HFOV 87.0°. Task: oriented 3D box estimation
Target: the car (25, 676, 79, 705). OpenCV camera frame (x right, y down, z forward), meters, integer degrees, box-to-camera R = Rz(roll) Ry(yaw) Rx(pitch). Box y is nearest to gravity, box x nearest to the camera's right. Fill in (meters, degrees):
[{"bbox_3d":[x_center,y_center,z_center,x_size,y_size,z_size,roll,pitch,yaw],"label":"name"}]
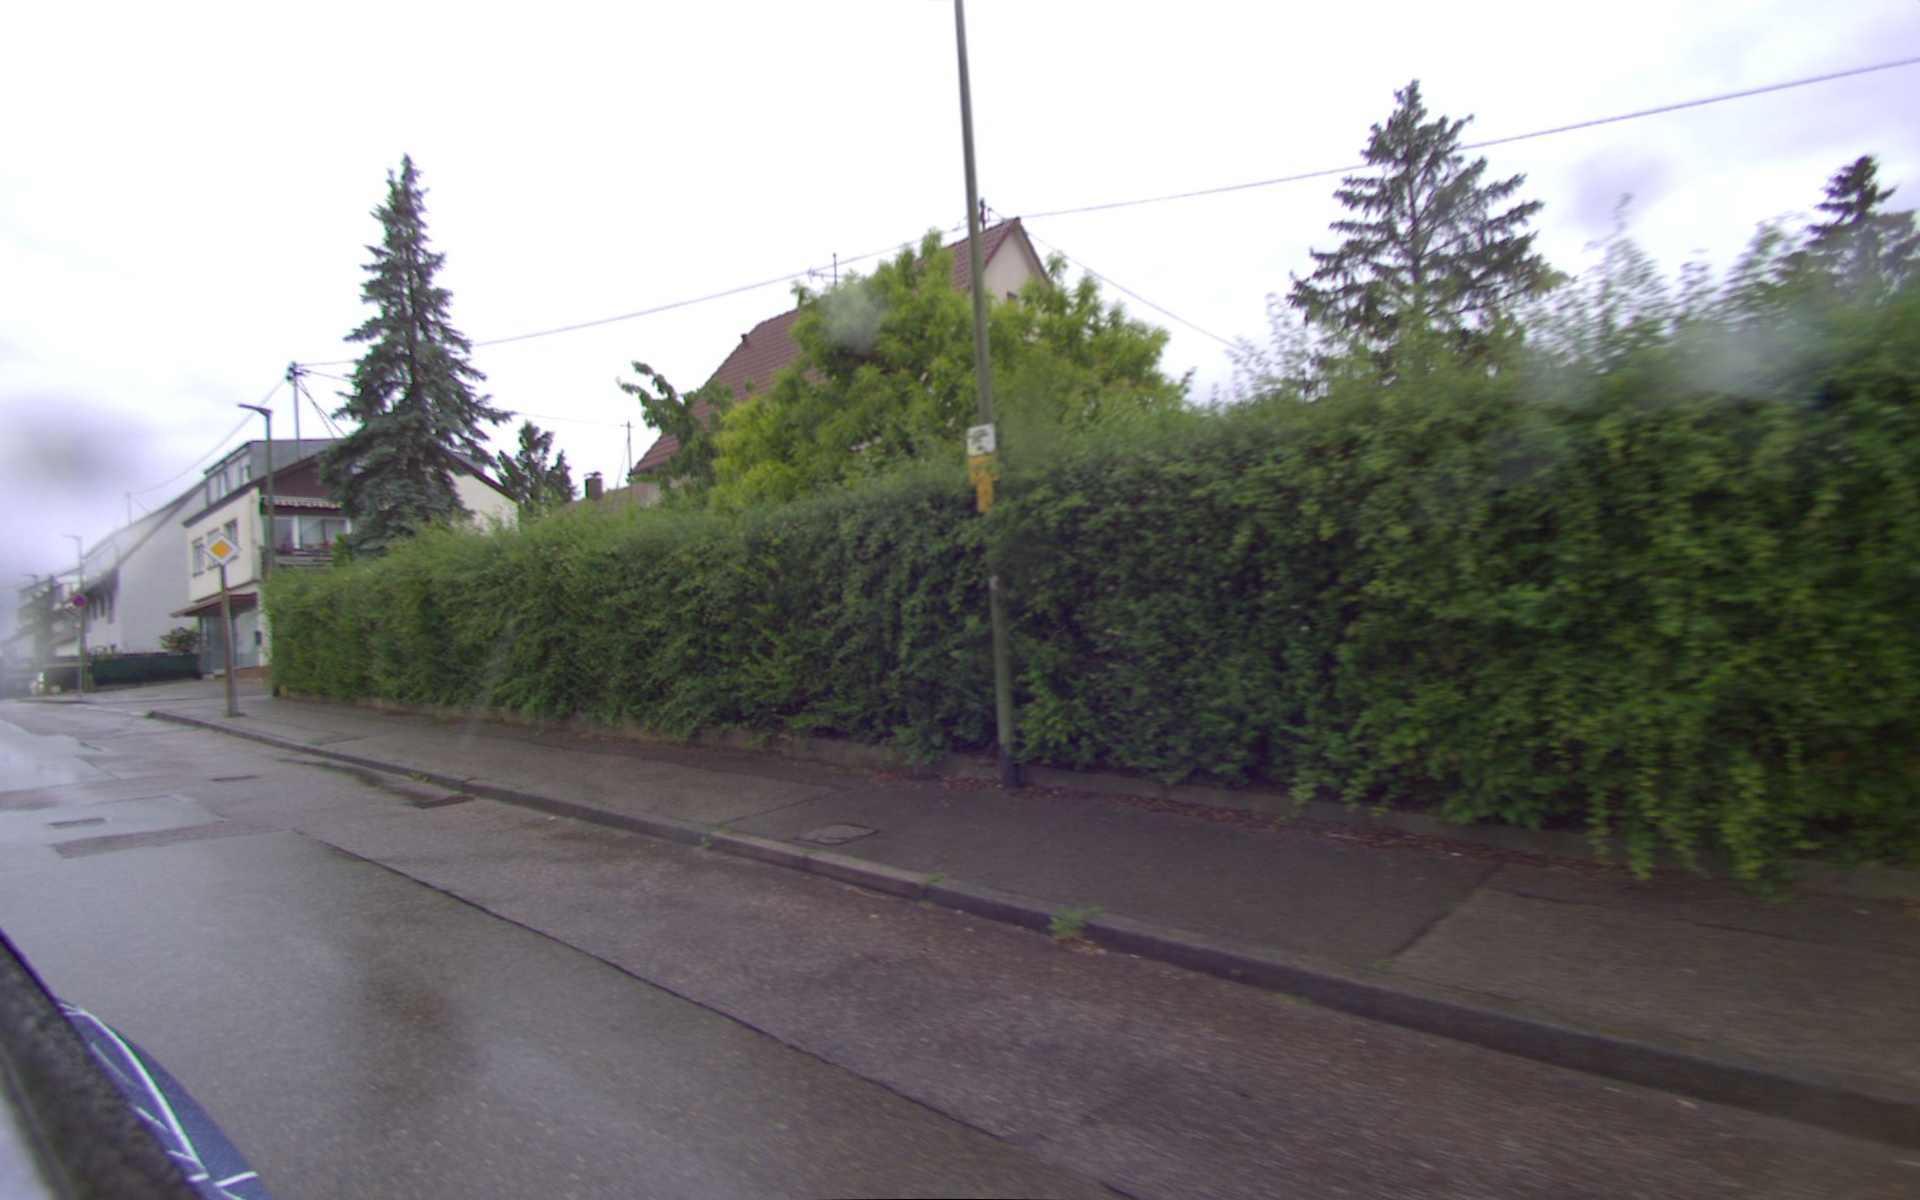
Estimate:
[{"bbox_3d":[-52.875,5.261,58.910,3.997,1.544,1.873,-4,-3,41],"label":"car"}]
